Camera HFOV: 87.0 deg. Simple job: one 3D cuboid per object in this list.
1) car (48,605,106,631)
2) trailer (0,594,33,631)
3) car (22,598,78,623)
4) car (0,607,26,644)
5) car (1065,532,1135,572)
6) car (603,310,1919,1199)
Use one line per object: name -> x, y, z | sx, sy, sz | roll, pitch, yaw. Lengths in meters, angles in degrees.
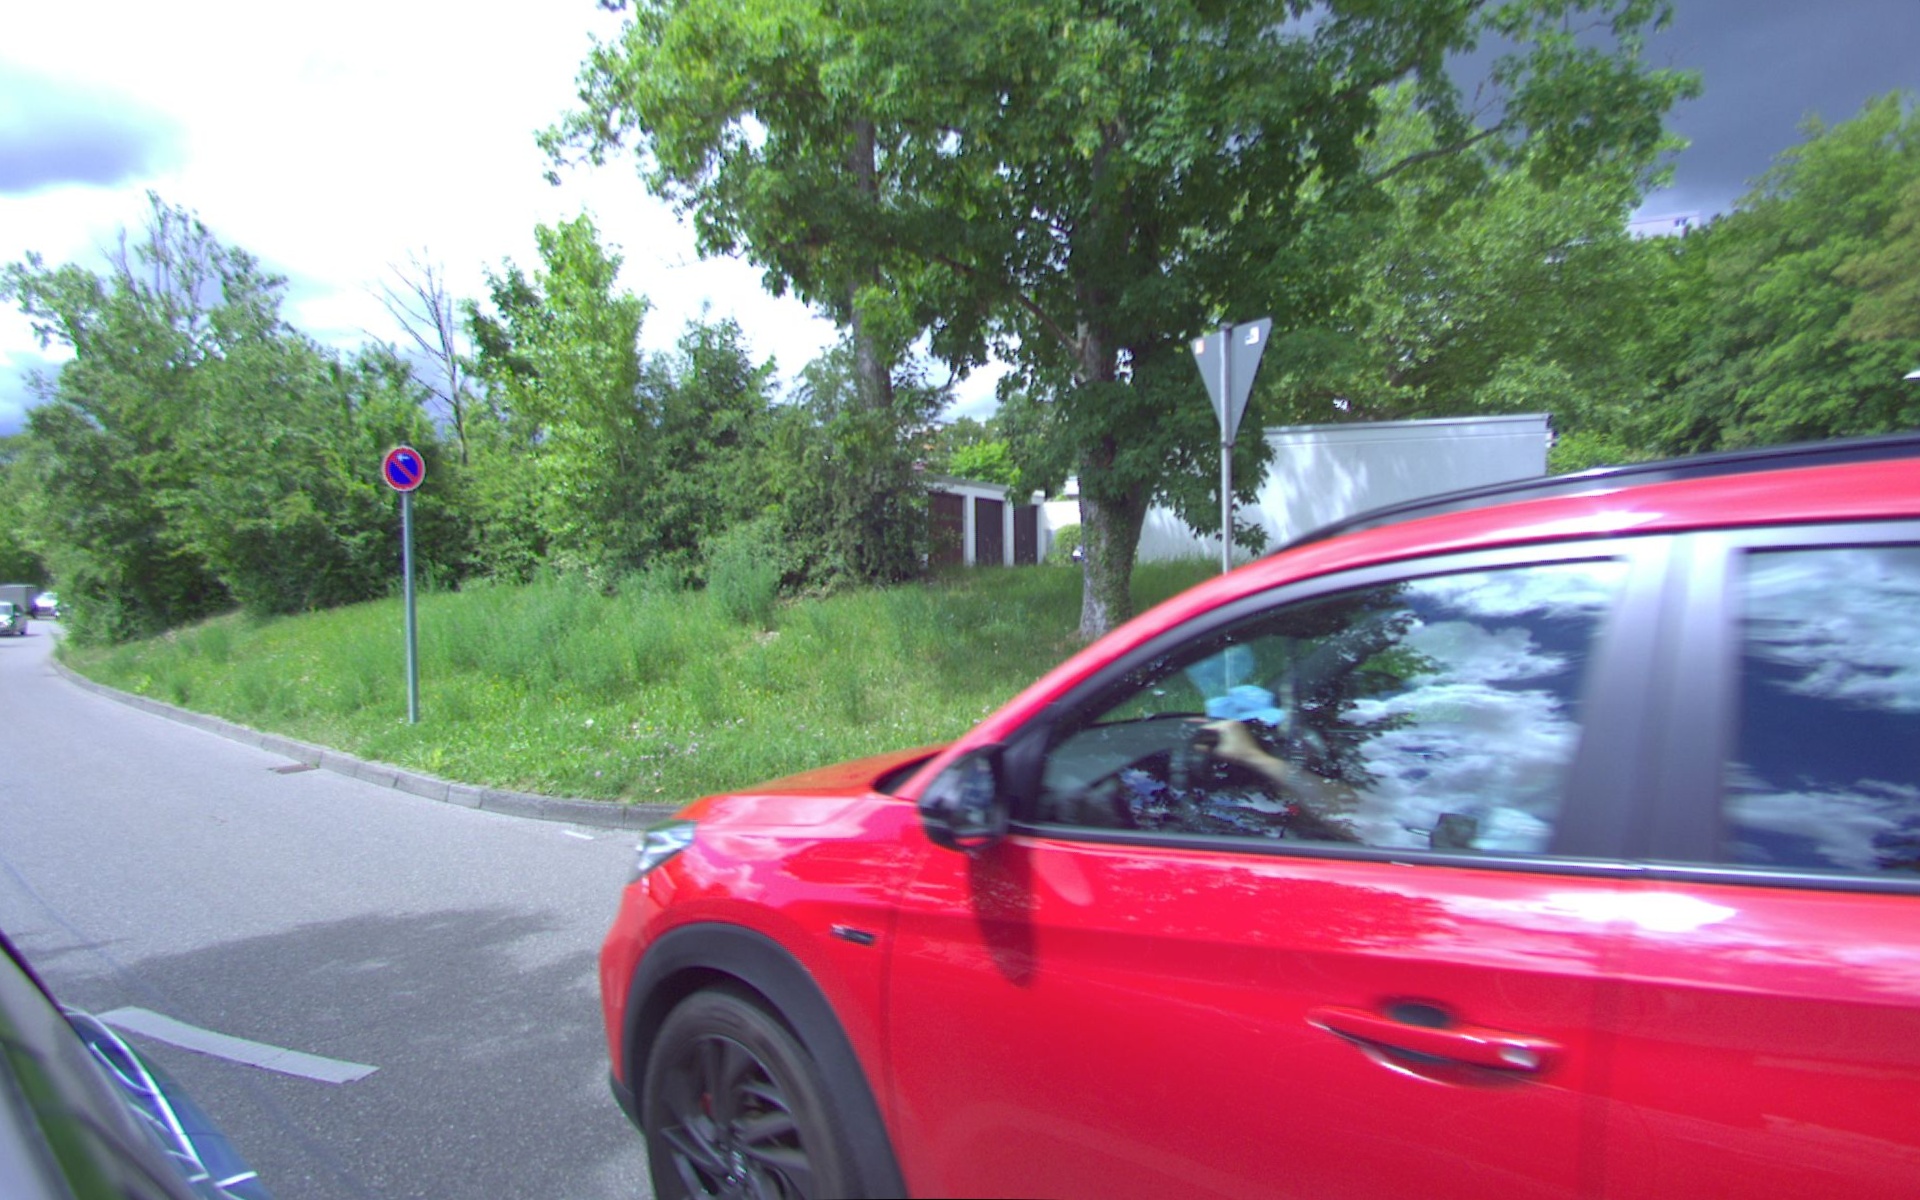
car -> -54.971, 1.103, 63.083 | 1.766, 1.520, 4.126 | 2, -2, -28
trailer -> -58.001, 0.729, 61.413 | 1.706, 2.094, 3.795 | 1, 1, -29
car -> -60.217, 0.659, 67.024 | 1.682, 1.488, 3.796 | 1, 1, -25
car -> -45.681, 1.169, 47.759 | 1.767, 1.520, 4.124 | 2, 1, -35
car -> 6.019, -2.003, 43.219 | 1.805, 1.543, 3.965 | 3, 2, 26
car -> 1.385, 0.581, 1.536 | 4.220, 1.671, 1.823 | -2, 0, 42
